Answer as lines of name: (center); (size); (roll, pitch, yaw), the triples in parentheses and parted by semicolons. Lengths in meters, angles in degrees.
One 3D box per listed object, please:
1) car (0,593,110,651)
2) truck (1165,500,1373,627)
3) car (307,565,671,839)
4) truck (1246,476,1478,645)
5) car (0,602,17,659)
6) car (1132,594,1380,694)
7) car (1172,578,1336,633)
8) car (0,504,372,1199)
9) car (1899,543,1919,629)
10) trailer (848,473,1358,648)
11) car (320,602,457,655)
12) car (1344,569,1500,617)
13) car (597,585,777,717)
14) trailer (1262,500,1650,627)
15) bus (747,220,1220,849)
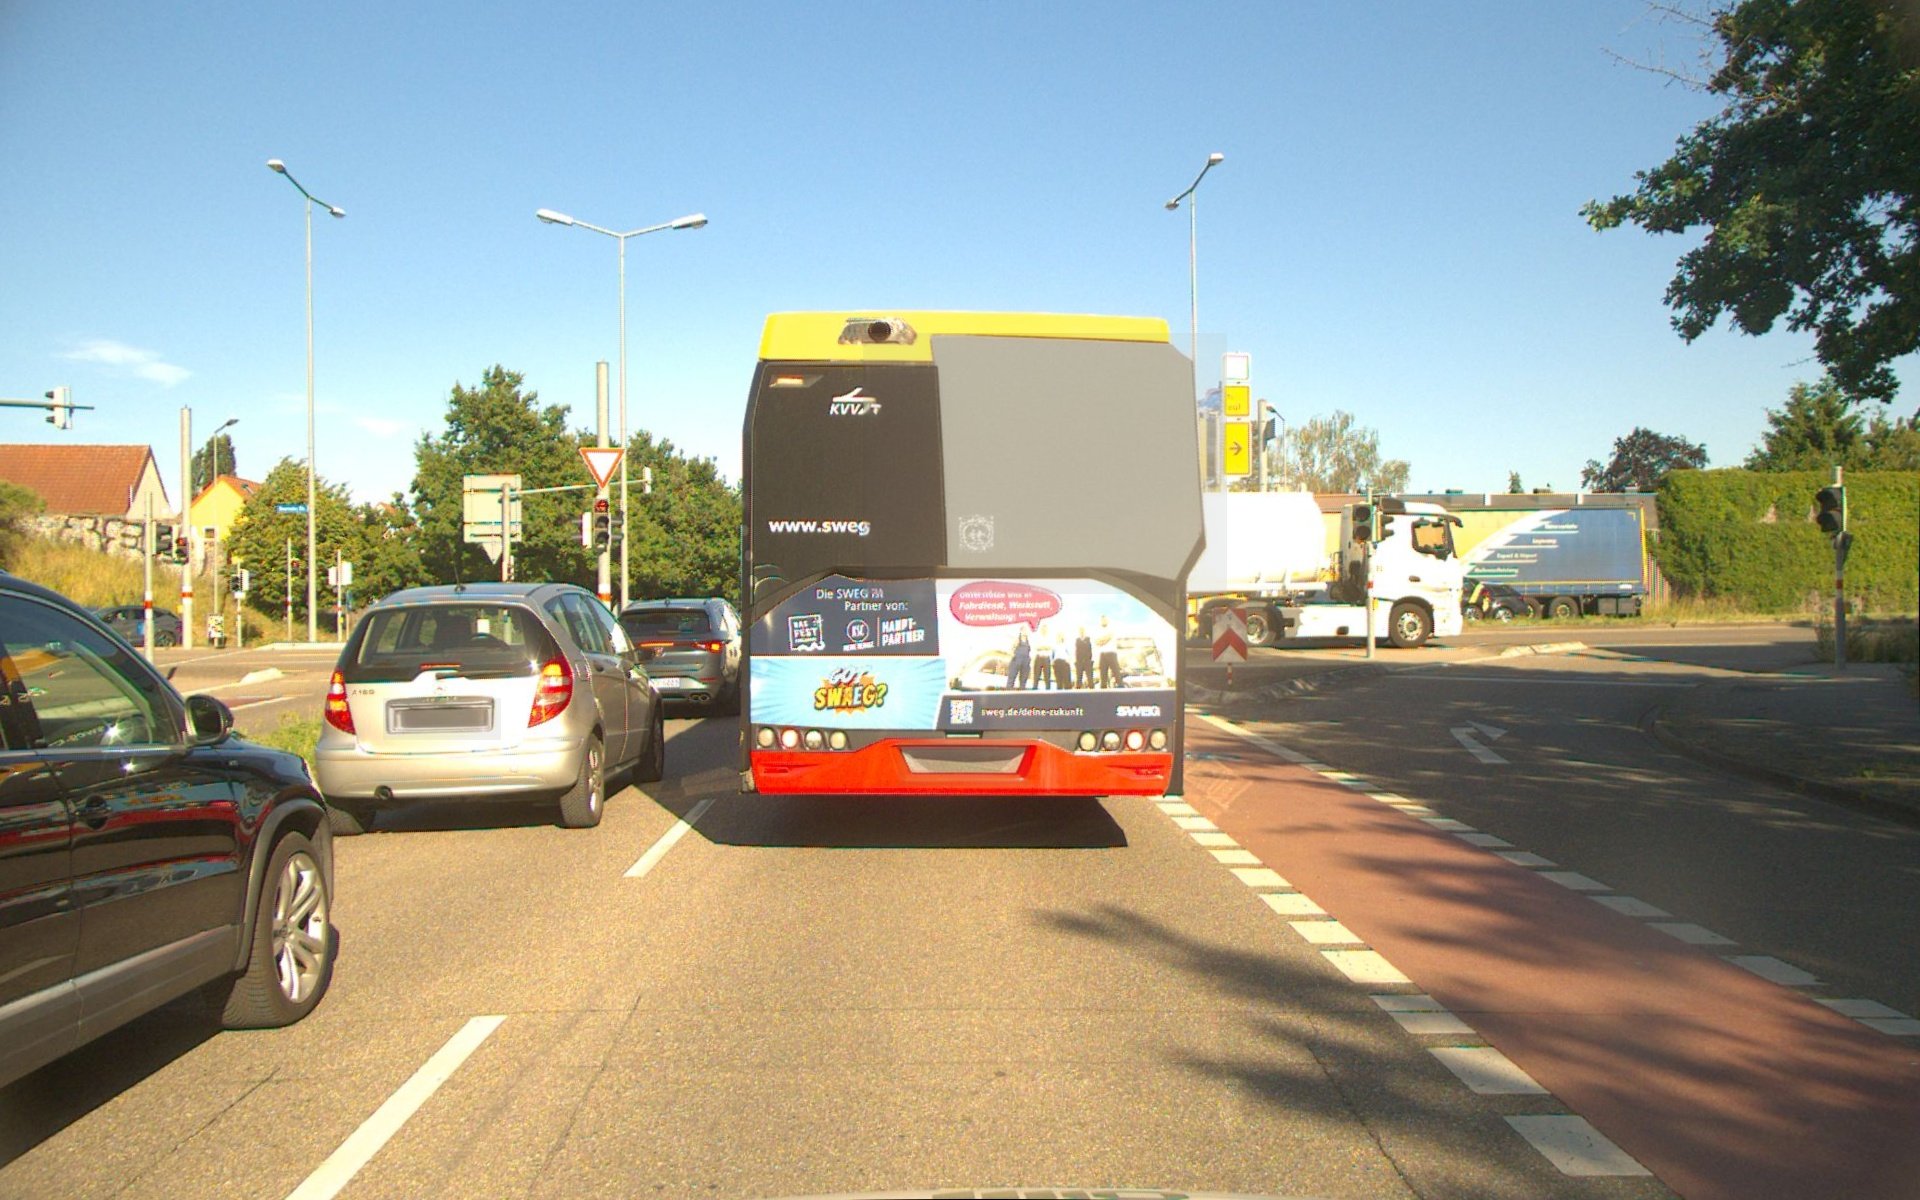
car: (-26.310, 0.615, 46.462); (3.911, 1.580, 1.693); (1, -1, -8)
truck: (10.132, -1.196, 54.417); (6.277, 4.068, 2.469); (0, 0, -8)
car: (-3.225, 0.578, 12.132); (1.719, 1.648, 4.031); (0, 1, -4)
truck: (9.227, -0.905, 38.242); (4.707, 3.760, 2.408); (0, 0, -6)
car: (-25.603, 0.723, 40.692); (3.775, 1.409, 1.679); (1, -1, -10)
car: (4.287, 0.615, 24.250); (3.447, 1.325, 1.576); (1, 1, 8)
car: (7.378, 0.141, 41.605); (3.776, 1.336, 1.504); (0, -1, -10)
car: (-3.152, 0.659, 4.392); (1.784, 1.703, 4.001); (-2, -1, -1)
car: (16.500, -0.191, 25.971); (3.355, 1.318, 1.448); (1, -1, -26)
trailer: (3.167, -0.886, 37.437); (11.257, 3.761, 2.392); (0, 0, -7)
car: (-18.521, 0.906, 53.706); (3.910, 1.640, 1.693); (0, 0, -7)
car: (13.392, -0.182, 48.062); (4.078, 1.325, 1.573); (1, -1, -4)
car: (-3.374, 0.612, 21.005); (1.555, 1.512, 3.683); (-1, -1, 2)
trailer: (16.529, -1.220, 55.279); (12.492, 4.100, 2.466); (0, 0, -8)
bus: (0.044, -0.370, 14.994); (2.543, 3.393, 11.981); (1, 0, -1)
